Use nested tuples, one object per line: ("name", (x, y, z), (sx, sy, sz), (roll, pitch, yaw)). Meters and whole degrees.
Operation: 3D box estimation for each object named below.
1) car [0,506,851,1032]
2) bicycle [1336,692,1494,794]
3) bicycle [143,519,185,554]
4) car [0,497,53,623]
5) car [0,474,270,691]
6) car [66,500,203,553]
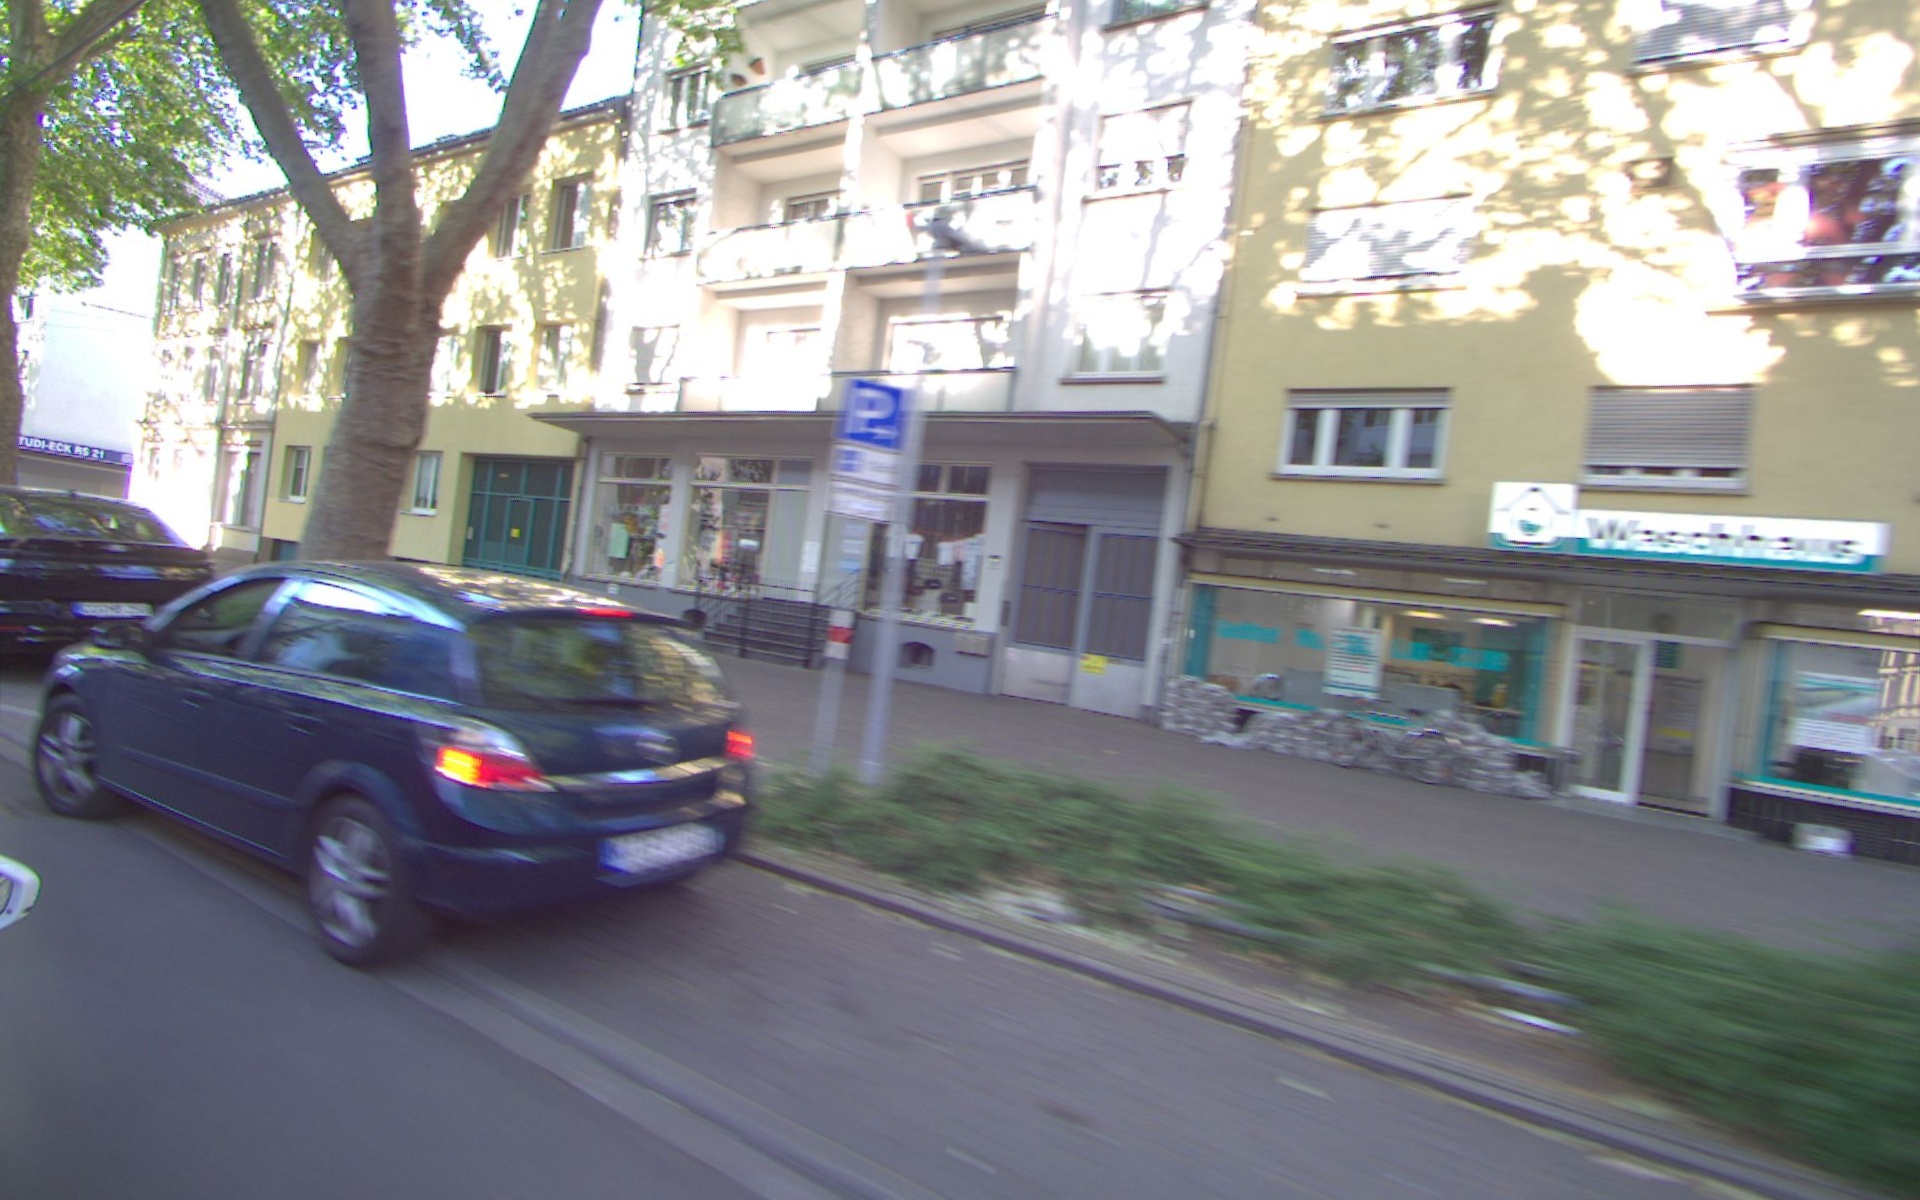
("car", (-2.846, 0.508, 5.054), (4.154, 1.455, 1.867), (7, 0, 30))
("bicycle", (5.914, 1.830, 13.110), (1.750, 1.010, 0.571), (7, 1, 28))
("bicycle", (-29.741, -2.383, 37.567), (1.891, 1.118, 0.583), (7, 1, 32))
("car", (-13.396, -0.700, 12.451), (4.525, 1.453, 1.819), (6, 0, 30))
("car", (-8.747, -0.274, 9.487), (4.703, 1.623, 1.860), (6, 0, 31))
("car", (-36.561, -3.233, 44.665), (1.965, 1.612, 4.142), (7, -1, 28))
